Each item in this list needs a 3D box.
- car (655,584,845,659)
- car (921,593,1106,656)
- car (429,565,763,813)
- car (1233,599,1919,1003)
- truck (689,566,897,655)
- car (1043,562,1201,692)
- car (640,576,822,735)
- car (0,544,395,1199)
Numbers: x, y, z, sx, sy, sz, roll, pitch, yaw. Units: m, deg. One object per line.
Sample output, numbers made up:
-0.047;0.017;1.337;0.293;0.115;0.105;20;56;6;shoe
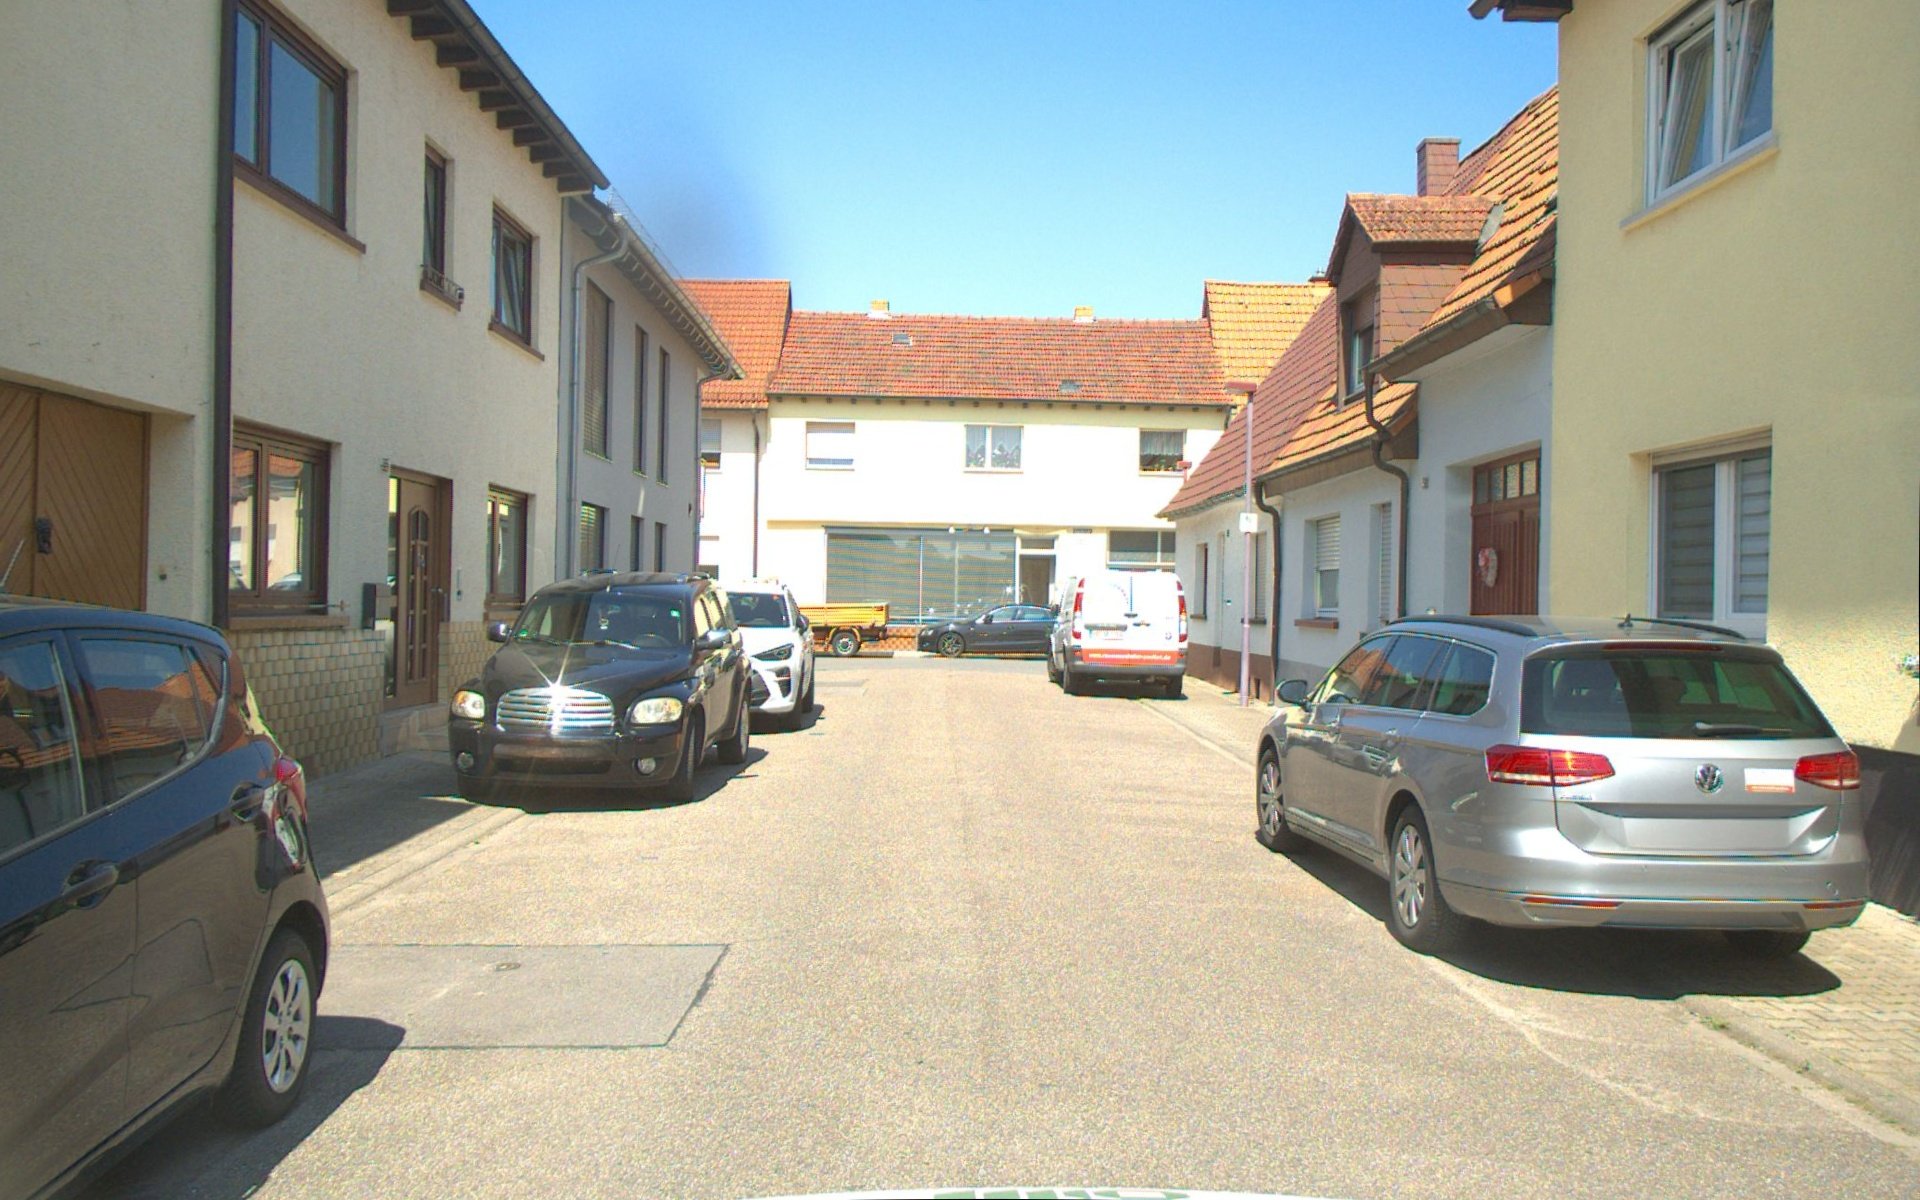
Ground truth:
-4.782;0.455;37.478;4.192;1.610;1.757;0;0;34;car
1.292;0.636;41.578;4.523;1.419;1.927;1;-3;-2;car
-2.657;0.589;12.990;1.687;1.643;3.989;0;0;1;car
2.808;0.761;8.620;1.801;1.473;4.774;2;0;-2;car
-4.108;0.265;41.390;4.960;2.049;2.189;1;-1;-1;truck
2.538;0.396;27.192;1.972;1.871;5.264;2;0;-1;car
-2.569;0.571;19.416;1.738;1.643;4.346;0;0;-3;car
-2.541;0.683;3.276;1.607;1.564;3.941;0;0;-2;car
